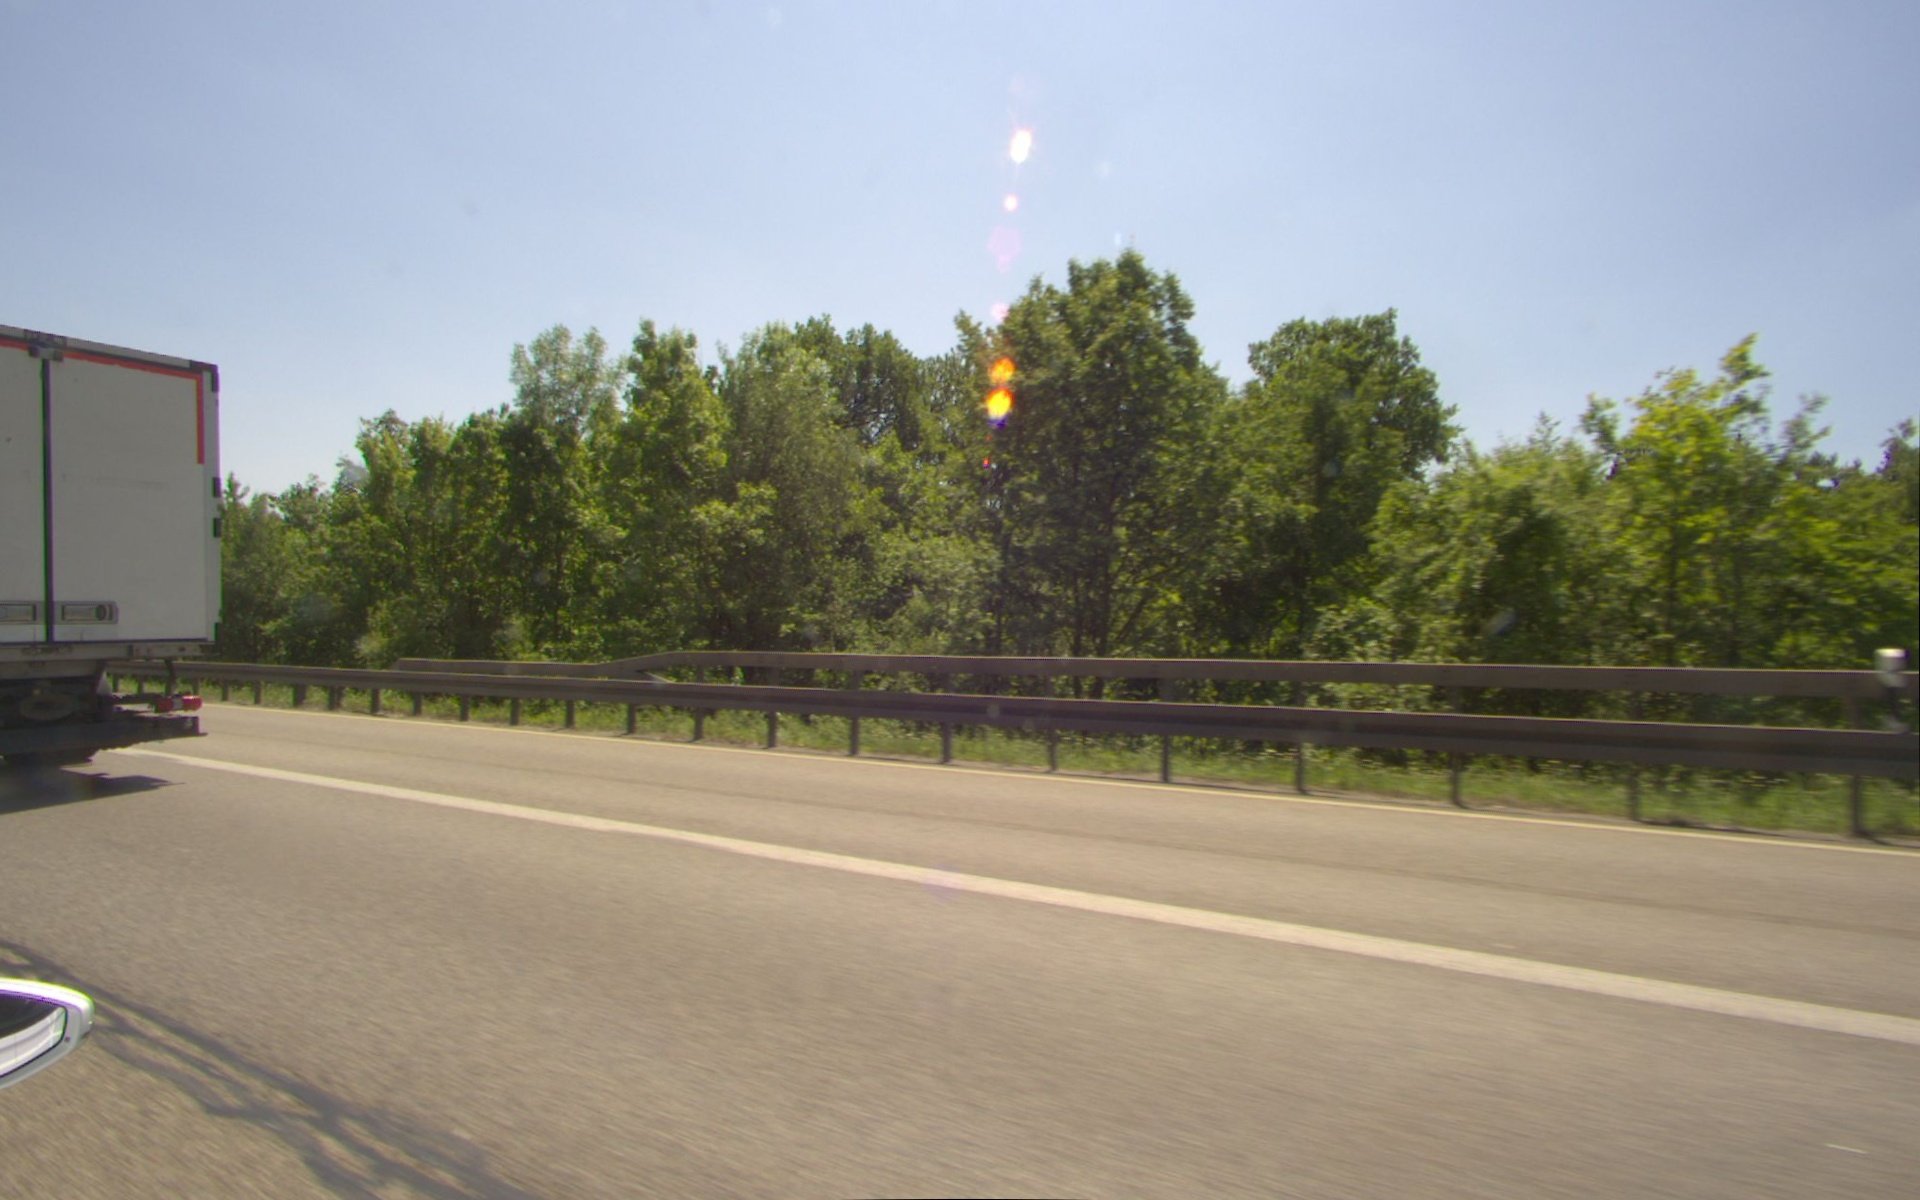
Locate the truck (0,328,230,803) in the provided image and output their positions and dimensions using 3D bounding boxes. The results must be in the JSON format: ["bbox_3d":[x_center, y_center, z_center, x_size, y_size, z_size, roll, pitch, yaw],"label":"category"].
[{"bbox_3d":[-11.882,-0.236,11.054,9.636,3.927,2.684,-1,0,31],"label":"truck"}]
